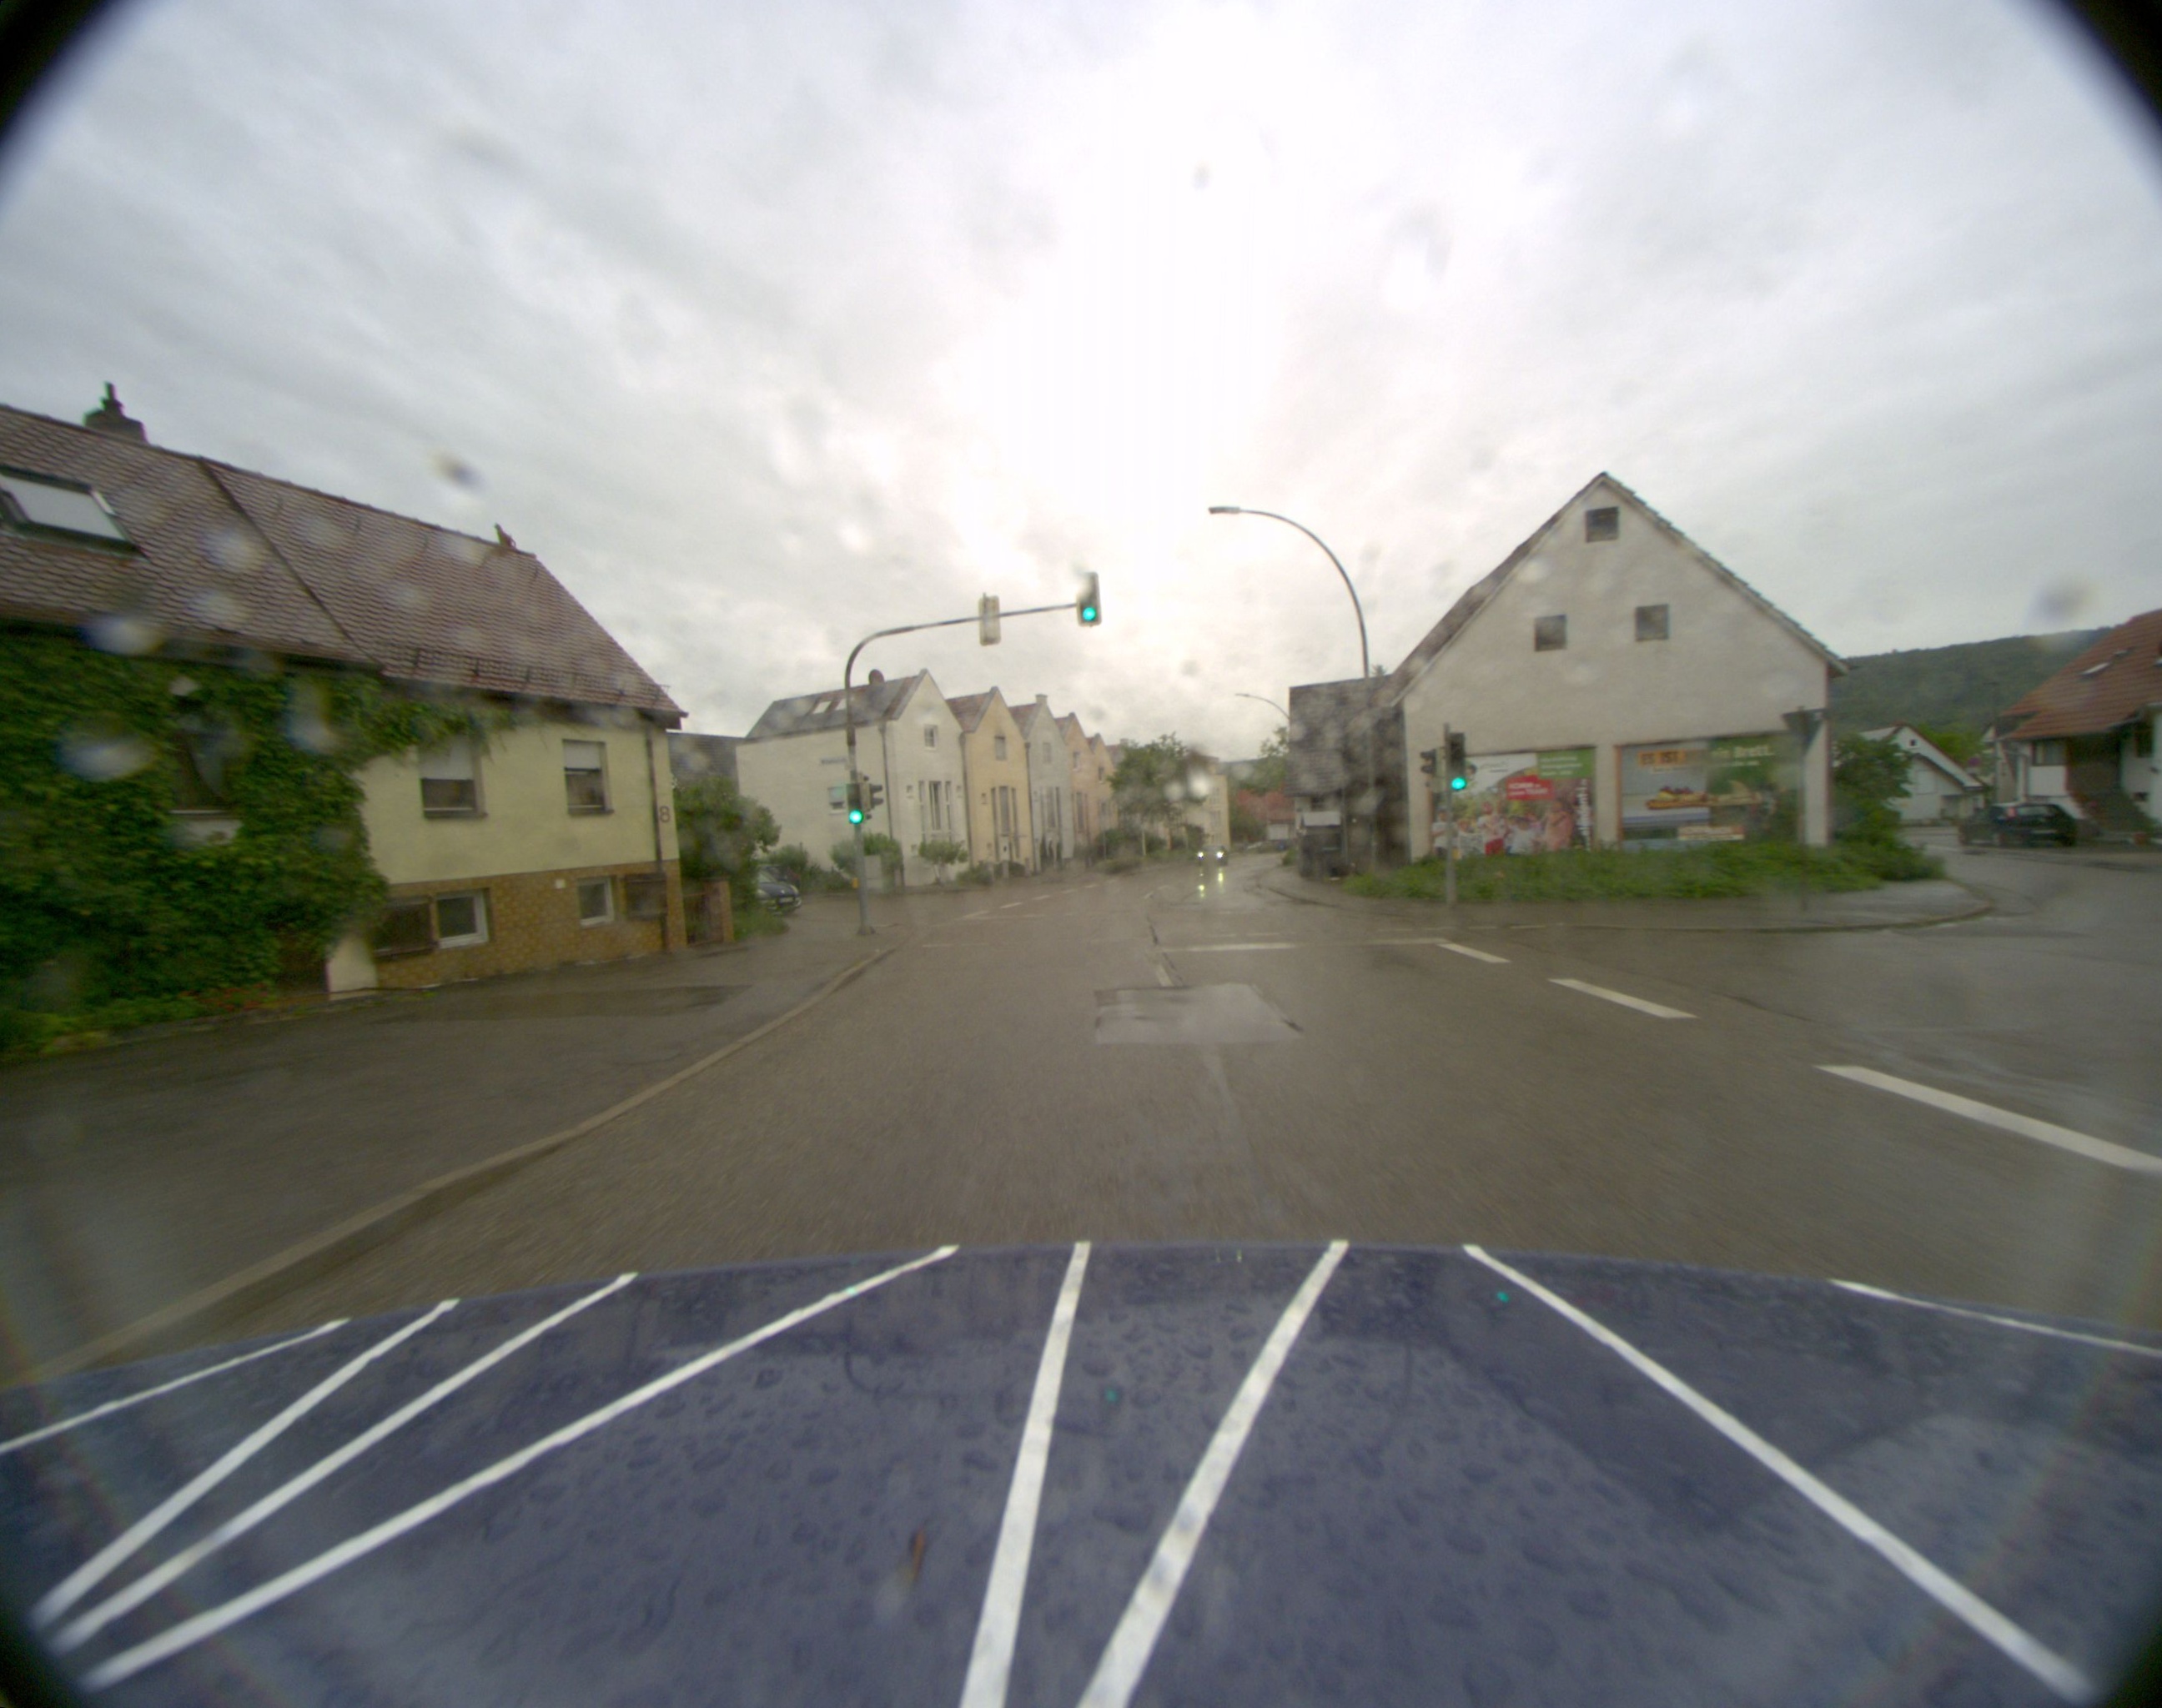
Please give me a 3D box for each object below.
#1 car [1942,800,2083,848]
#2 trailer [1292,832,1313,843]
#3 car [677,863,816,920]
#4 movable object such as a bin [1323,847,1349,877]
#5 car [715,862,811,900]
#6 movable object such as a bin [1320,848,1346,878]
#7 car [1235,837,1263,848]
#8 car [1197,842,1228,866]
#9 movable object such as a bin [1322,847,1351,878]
[{"bbox_3d":[32.222,-1.030,26.447,1.725,1.484,3.976,-1,1,29],"label":"car"},{"bbox_3d":[33.499,-2.501,114.958,1.415,1.640,2.717,-4,2,-43],"label":"trailer"},{"bbox_3d":[-10.736,1.195,24.332,4.135,1.576,1.867,-2,2,29],"label":"car"},{"bbox_3d":[9.576,0.285,28.559,0.818,1.055,0.597,-3,2,14],"label":"movable object such as a bin"},{"bbox_3d":[-13.599,1.155,32.479,3.725,1.399,1.806,-3,2,29],"label":"car"},{"bbox_3d":[9.691,0.343,29.214,0.837,1.053,0.612,-3,2,14],"label":"movable object such as a bin"},{"bbox_3d":[25.475,-1.726,115.284,4.006,1.368,1.875,-4,2,-34],"label":"car"},{"bbox_3d":[9.555,-0.007,55.025,1.997,1.521,4.002,-3,2,12],"label":"car"},{"bbox_3d":[9.385,0.316,27.955,0.899,1.072,0.652,-4,2,14],"label":"movable object such as a bin"}]
